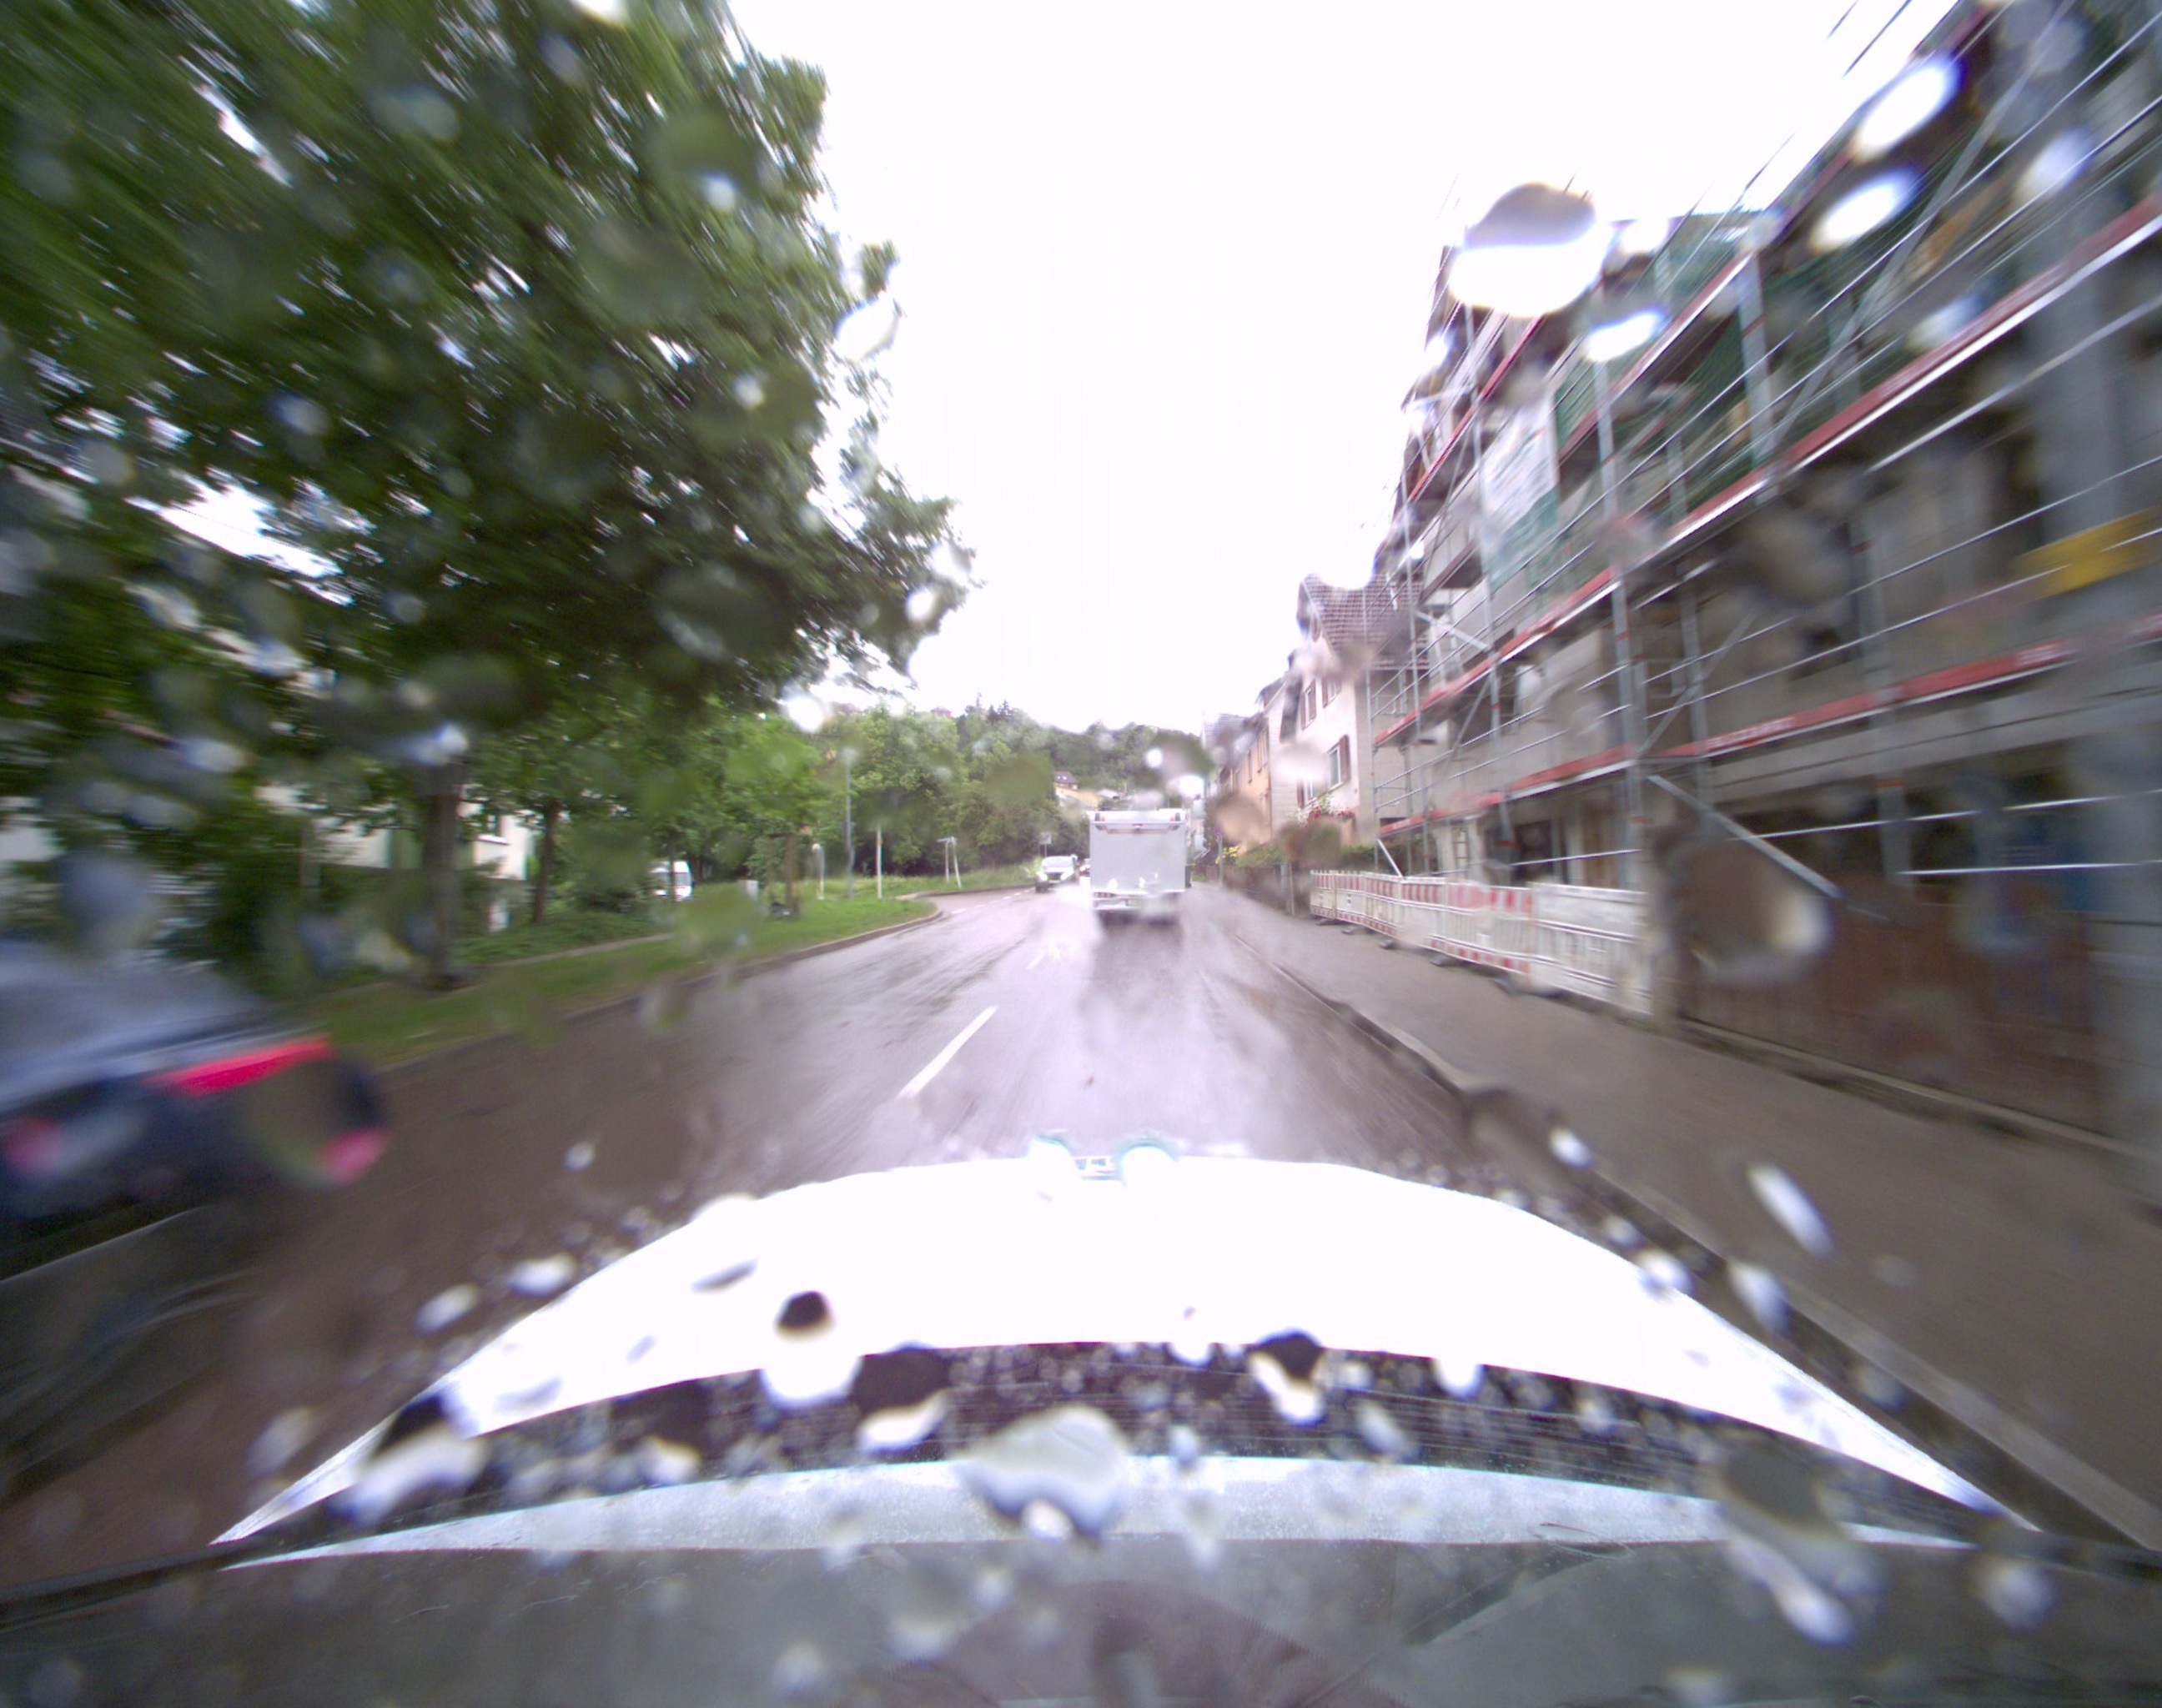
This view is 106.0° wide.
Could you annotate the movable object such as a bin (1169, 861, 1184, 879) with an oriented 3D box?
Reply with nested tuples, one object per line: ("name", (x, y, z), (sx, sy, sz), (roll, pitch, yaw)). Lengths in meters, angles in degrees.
("movable object such as a bin", (5.888, 1.010, 50.183), (0.909, 1.103, 0.703), (0, -1, 6))

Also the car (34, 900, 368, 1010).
("car", (-13.836, 1.498, 13.162), (1.994, 1.329, 3.434), (0, 0, -11))

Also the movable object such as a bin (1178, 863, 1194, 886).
("movable object such as a bin", (4.957, 0.965, 38.398), (0.716, 1.052, 0.801), (0, -1, 7))

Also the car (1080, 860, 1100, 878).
("car", (0.784, 1.232, 67.826), (1.554, 1.454, 4.087), (0, 0, 3))

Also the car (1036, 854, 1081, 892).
("car", (-1.016, 0.870, 38.485), (1.743, 1.689, 4.379), (0, 0, 3))

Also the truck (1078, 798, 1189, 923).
("truck", (1.326, 0.166, 21.501), (2.505, 2.817, 6.205), (0, 0, 3))

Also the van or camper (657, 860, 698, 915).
("van or camper", (-20.206, 1.589, 40.781), (1.645, 2.557, 6.012), (2, -1, -27))

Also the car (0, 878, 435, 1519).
("car", (-3.408, 0.805, 1.044), (1.757, 1.441, 4.067), (0, 0, 3))
